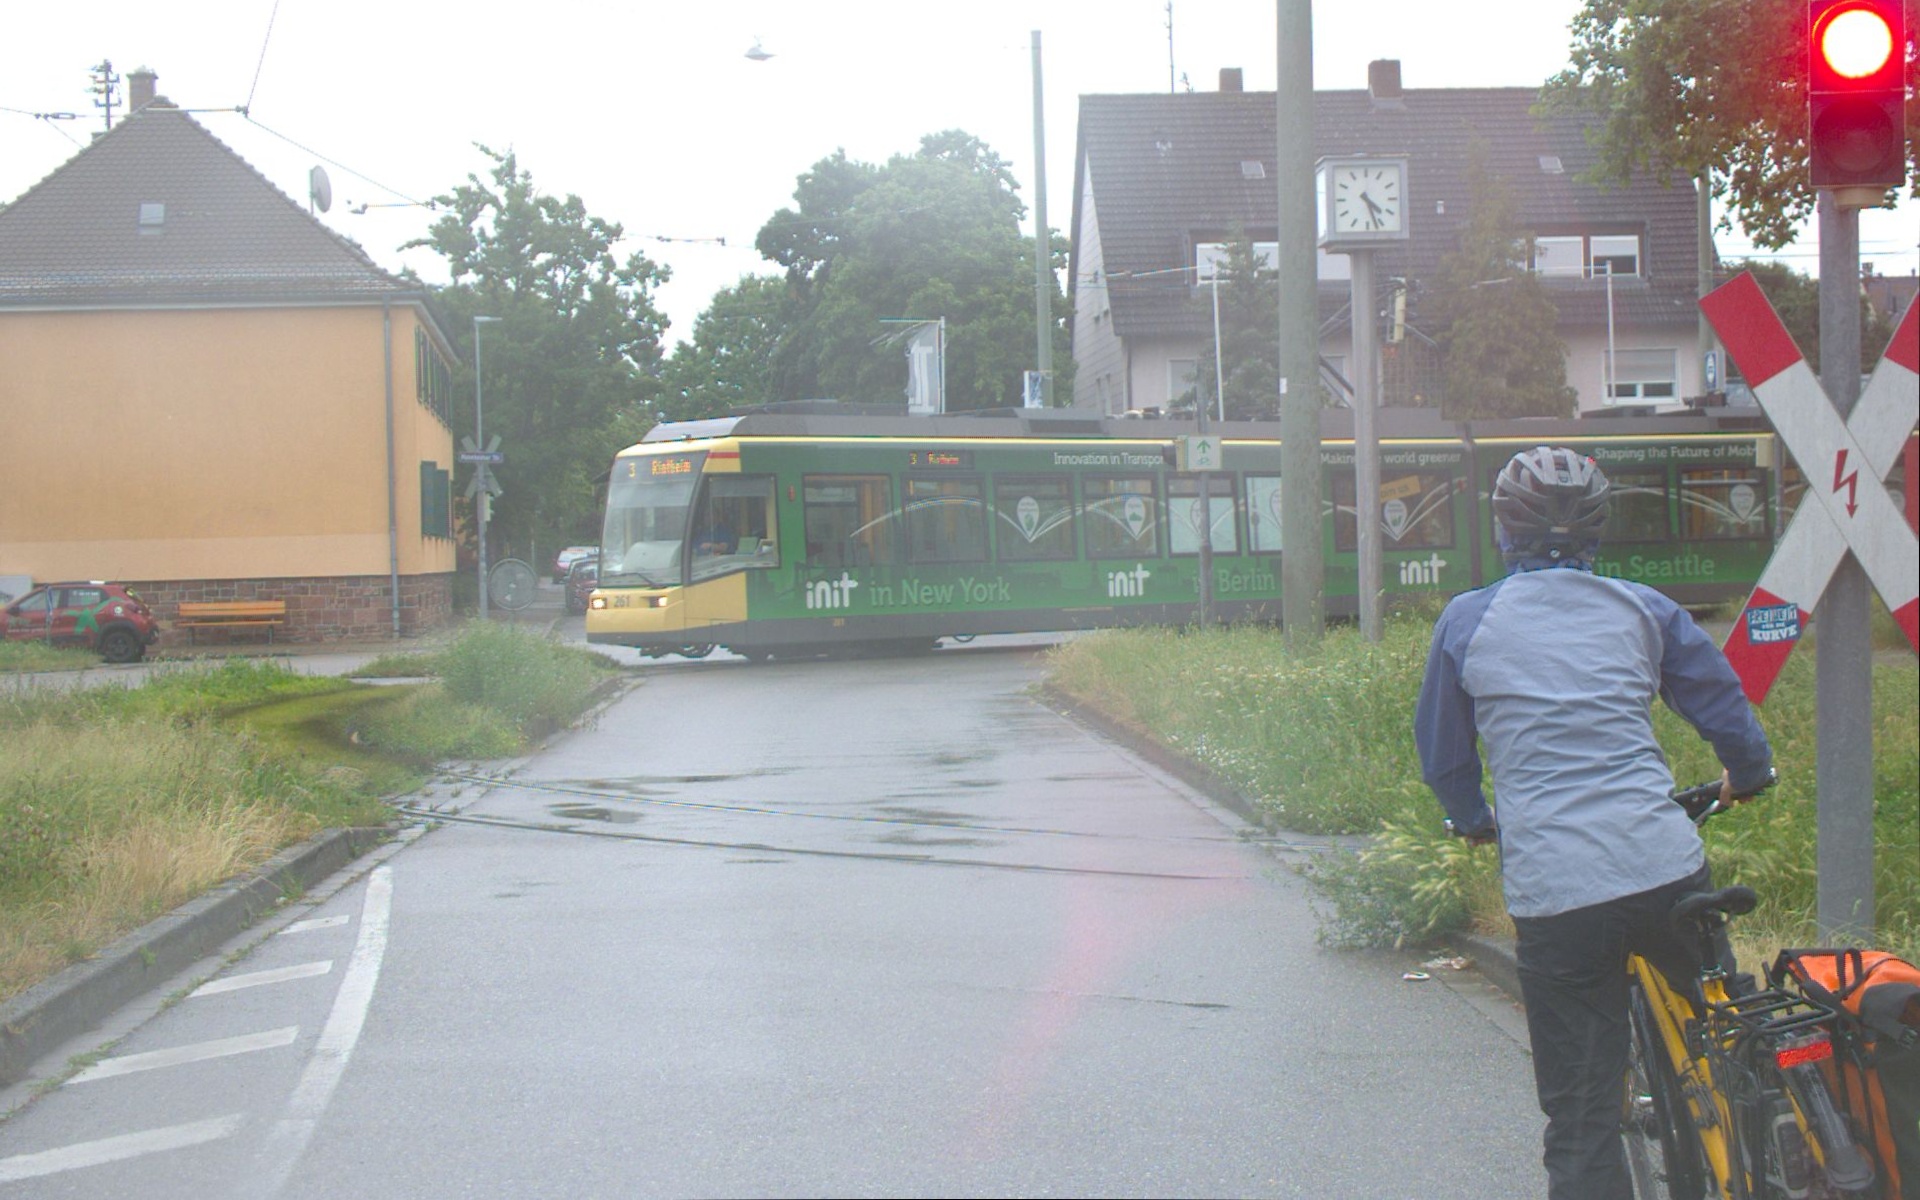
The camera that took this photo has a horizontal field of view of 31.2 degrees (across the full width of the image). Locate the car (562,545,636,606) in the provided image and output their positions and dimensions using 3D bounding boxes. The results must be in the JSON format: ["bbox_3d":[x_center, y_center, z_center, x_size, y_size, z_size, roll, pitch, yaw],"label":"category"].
[{"bbox_3d":[-10.026,-0.677,95.709,1.804,1.645,4.000,1,0,-3],"label":"car"}]

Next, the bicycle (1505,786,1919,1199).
[{"bbox_3d":[1.352,0.899,6.072,0.446,1.001,1.728,-1,1,-2],"label":"bicycle"}]

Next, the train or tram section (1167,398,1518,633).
[{"bbox_3d":[6.081,-1.311,54.426,4.973,3.541,2.769,0,1,-38],"label":"train or tram section"}]

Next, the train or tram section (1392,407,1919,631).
[{"bbox_3d":[13.827,-1.355,57.300,13.085,3.541,2.770,0,1,-15],"label":"train or tram section"}]

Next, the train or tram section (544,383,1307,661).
[{"bbox_3d":[-0.139,-1.155,48.892,12.171,3.540,2.768,-2,2,-43],"label":"train or tram section"}]

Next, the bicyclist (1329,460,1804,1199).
[{"bbox_3d":[1.065,0.577,6.207,0.667,1.620,0.853,1,0,-2],"label":"bicyclist"}]

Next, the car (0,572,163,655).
[{"bbox_3d":[-16.664,0.228,62.598,3.986,1.451,1.834,1,0,-6],"label":"car"}]
